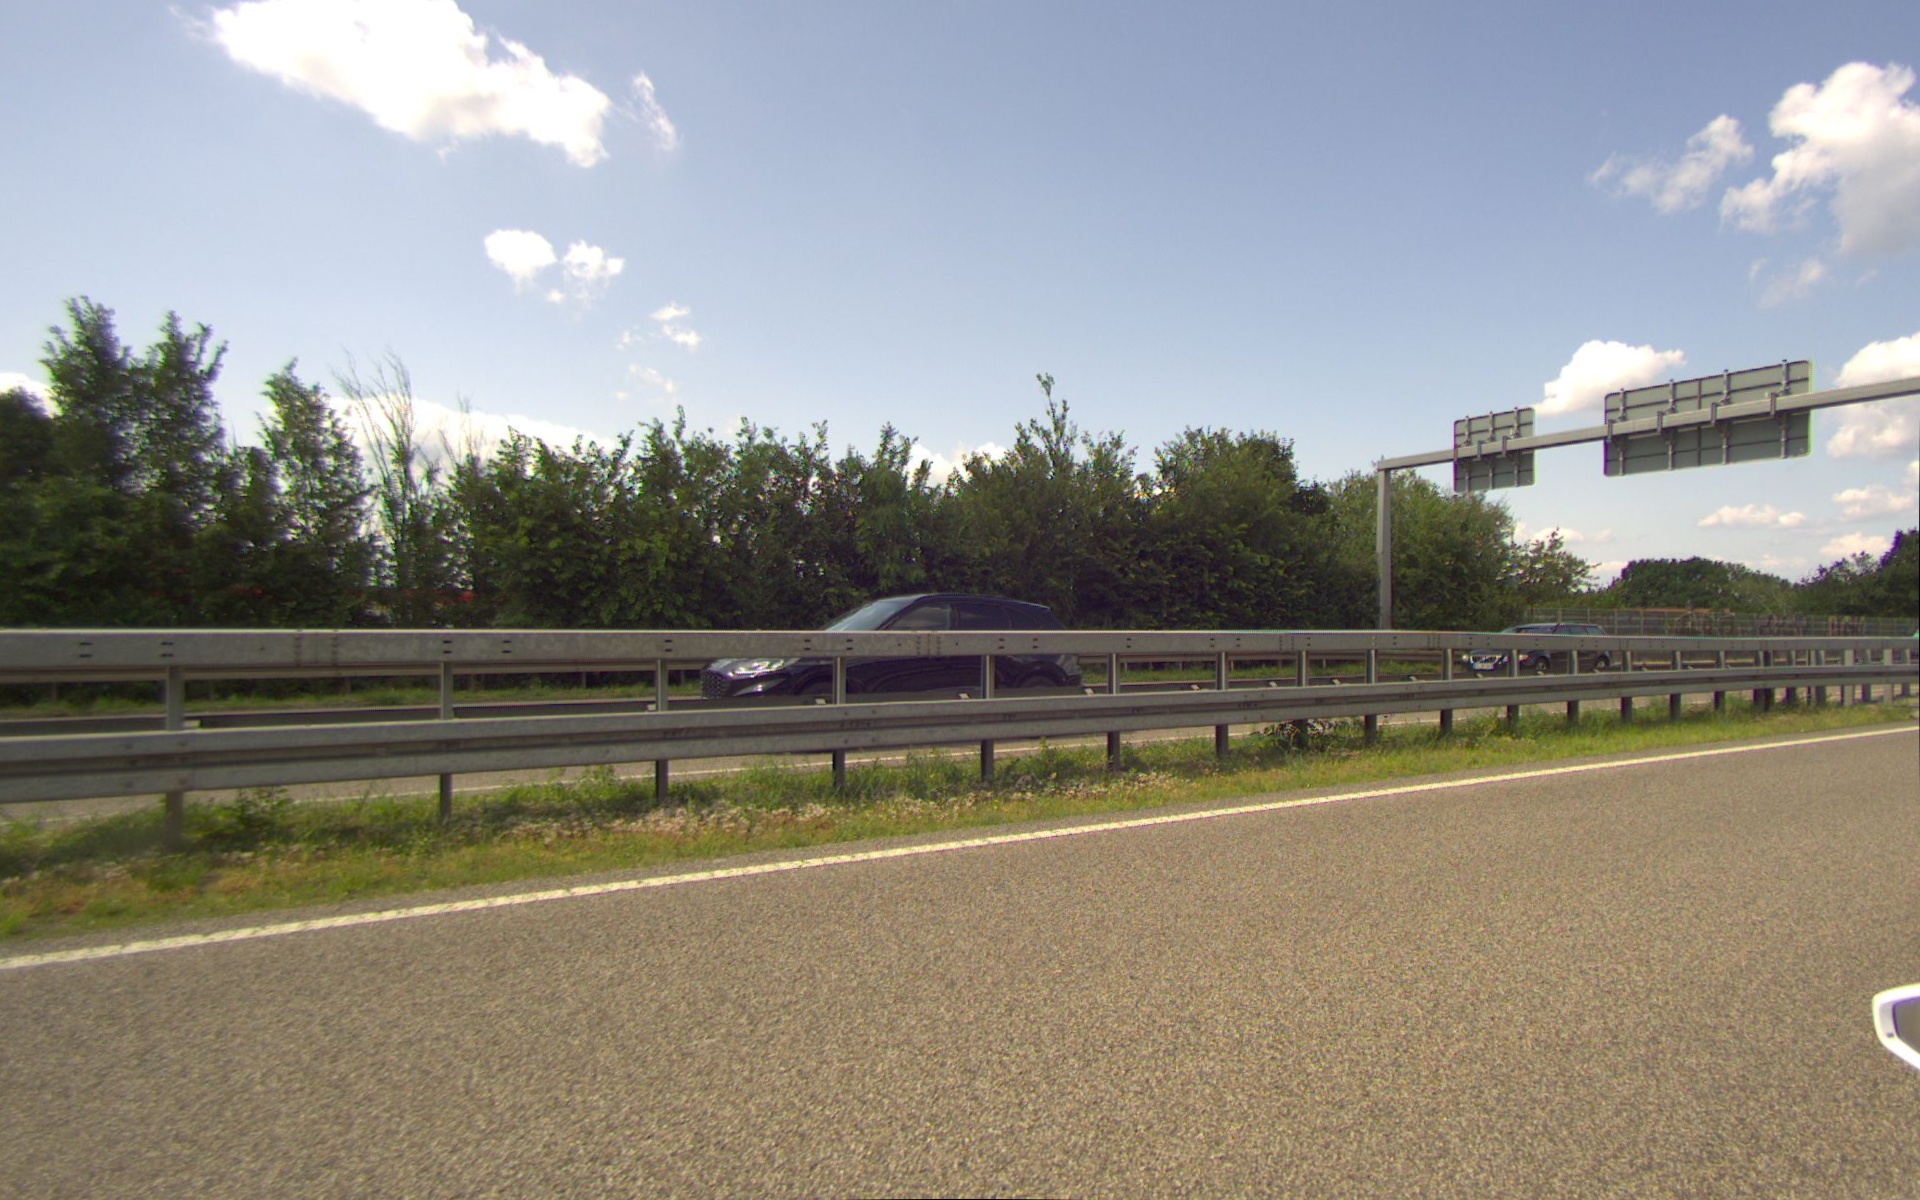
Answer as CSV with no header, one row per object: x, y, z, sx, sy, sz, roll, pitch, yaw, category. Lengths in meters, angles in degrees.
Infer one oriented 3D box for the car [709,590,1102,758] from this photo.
-0.600,0.765,11.654,4.085,1.618,1.984,2,0,-31,car

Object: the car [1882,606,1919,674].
29.540,1.216,29.605,5.330,1.888,1.984,2,0,-31,car

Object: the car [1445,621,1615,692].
14.432,1.397,25.376,4.503,1.596,1.693,2,0,-31,car
